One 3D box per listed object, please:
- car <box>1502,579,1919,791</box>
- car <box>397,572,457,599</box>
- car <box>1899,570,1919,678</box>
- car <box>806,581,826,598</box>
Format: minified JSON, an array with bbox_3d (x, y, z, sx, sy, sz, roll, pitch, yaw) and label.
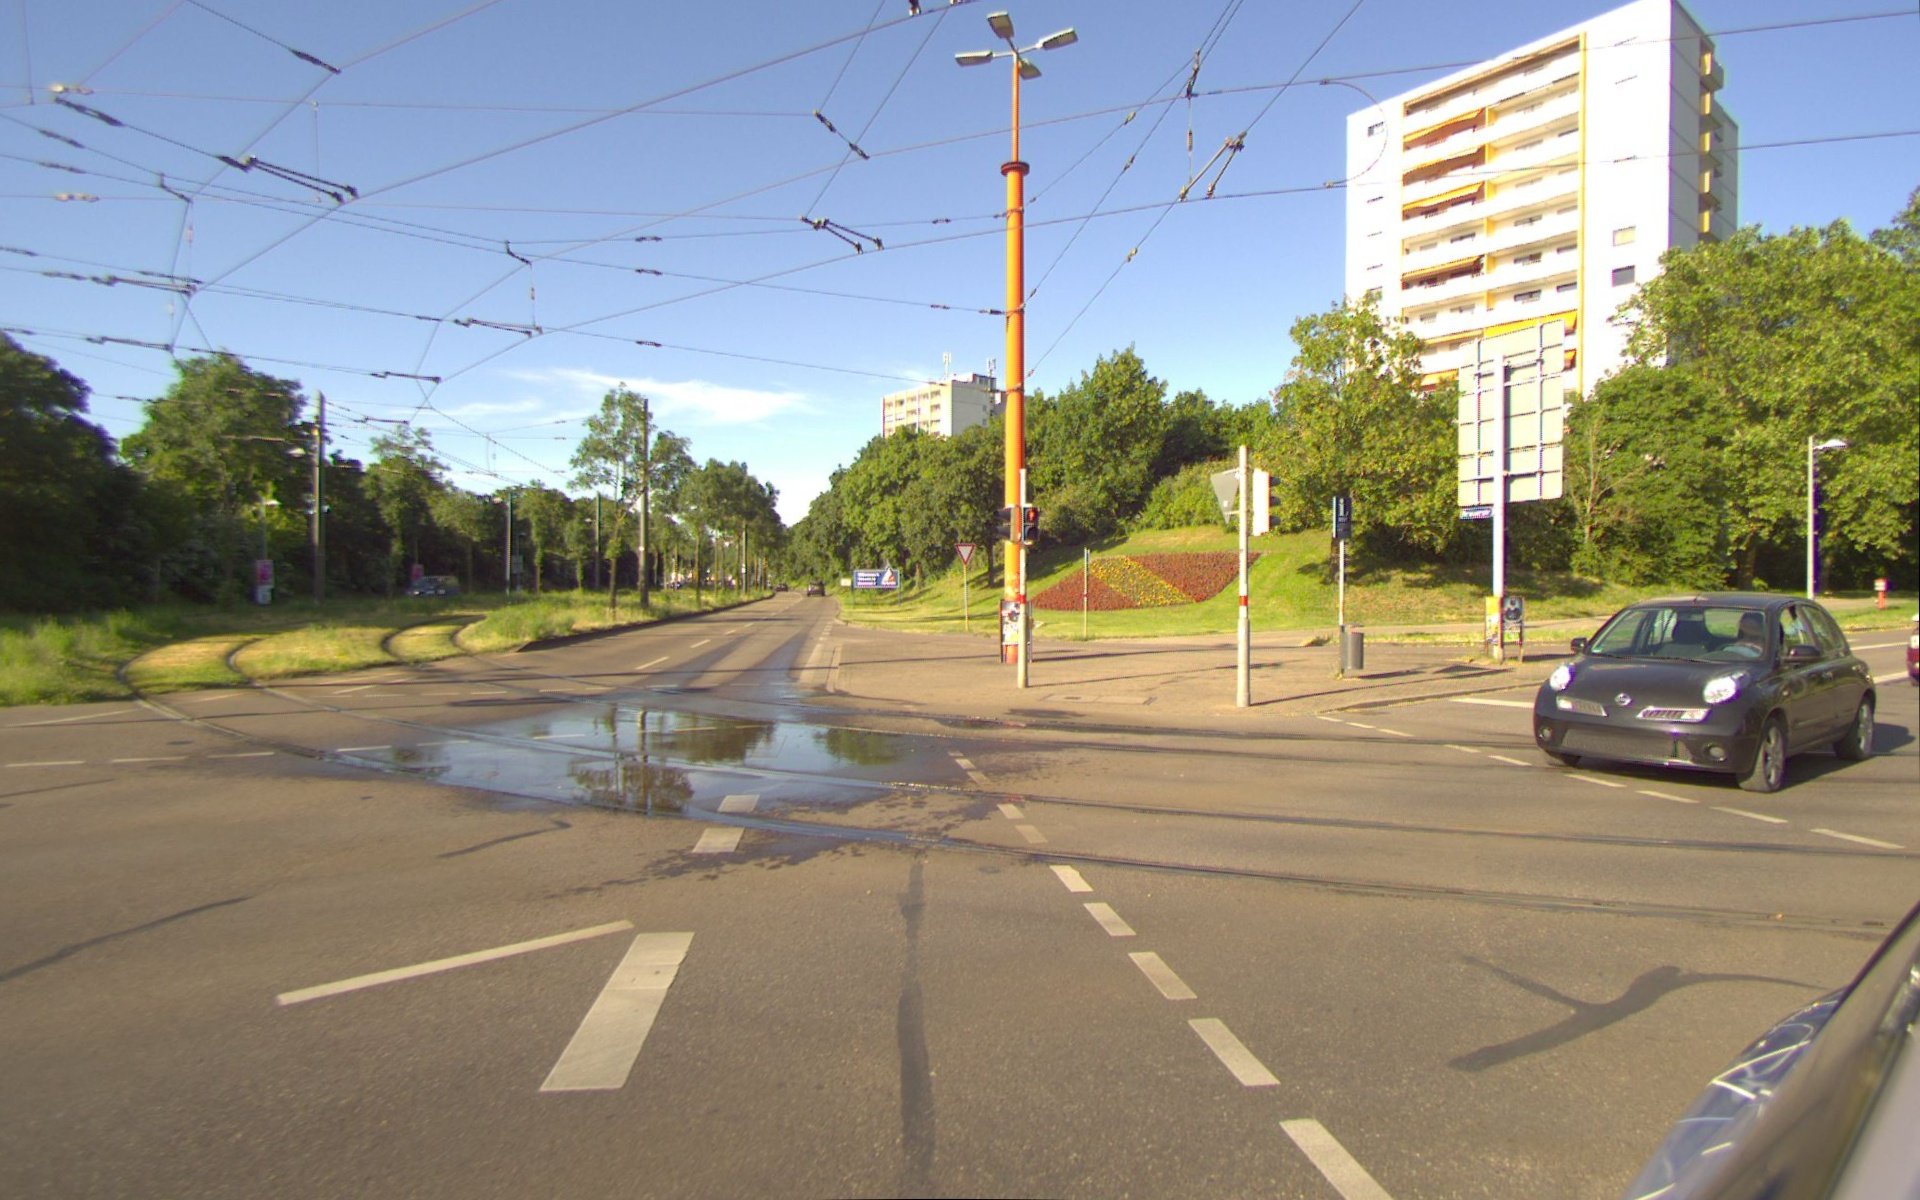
[{"bbox_3d":[6.961,0.585,9.141,4.533,1.501,1.741,0,0,-34],"label":"car"},{"bbox_3d":[-36.130,-0.957,68.761,1.960,1.754,4.824,0,1,-6],"label":"car"},{"bbox_3d":[16.222,0.343,15.399,4.634,1.578,1.774,0,0,-33],"label":"car"},{"bbox_3d":[-15.512,-1.149,108.905,1.959,1.725,4.701,0,1,-9],"label":"car"}]
